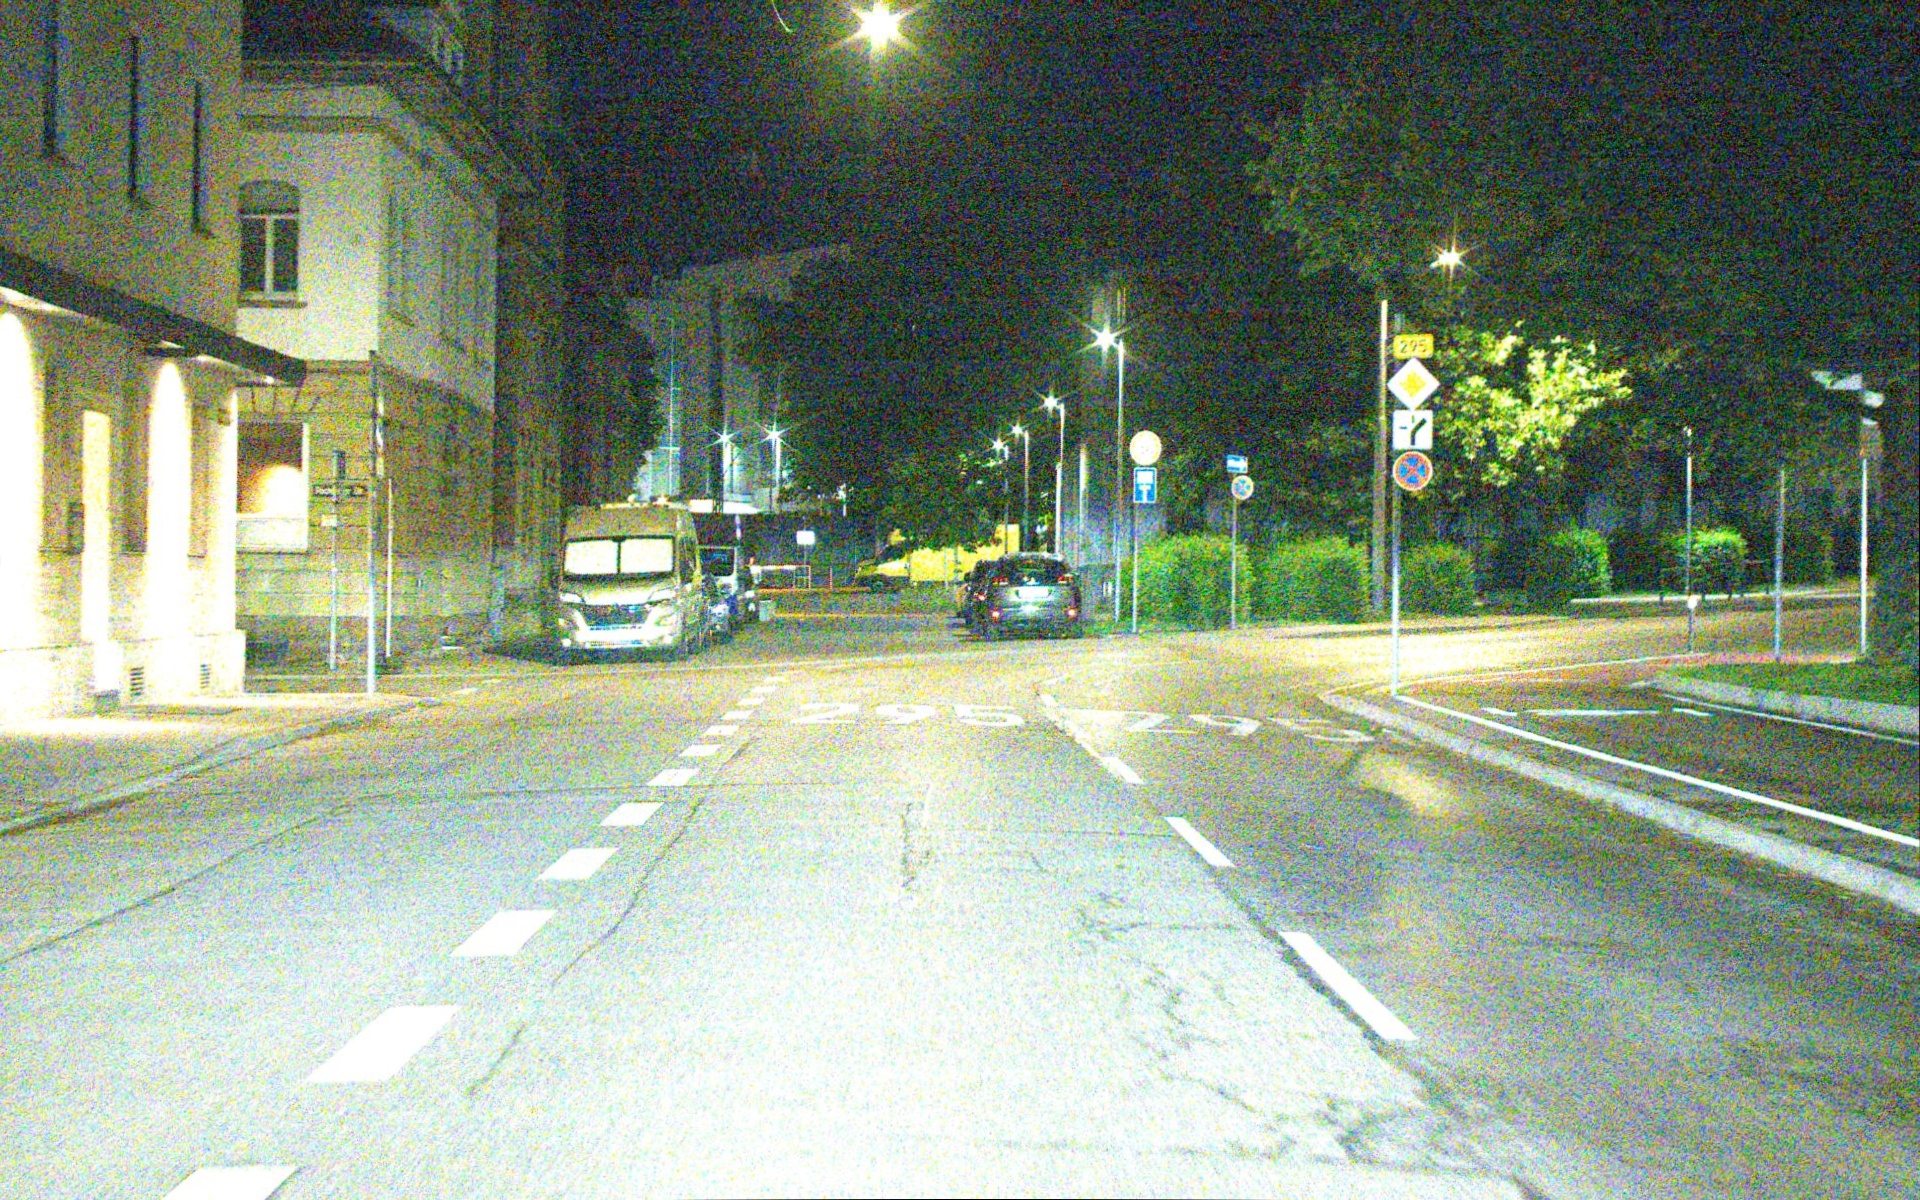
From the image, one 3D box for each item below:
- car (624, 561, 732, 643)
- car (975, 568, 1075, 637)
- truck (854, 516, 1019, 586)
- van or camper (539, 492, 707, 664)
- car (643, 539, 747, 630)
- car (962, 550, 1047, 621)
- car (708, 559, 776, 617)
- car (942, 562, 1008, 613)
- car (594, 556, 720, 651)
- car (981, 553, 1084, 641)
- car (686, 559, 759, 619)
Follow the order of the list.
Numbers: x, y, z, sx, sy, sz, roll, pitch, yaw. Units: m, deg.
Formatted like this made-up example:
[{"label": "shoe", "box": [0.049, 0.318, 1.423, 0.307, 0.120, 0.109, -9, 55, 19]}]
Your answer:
[{"label": "car", "box": [-5.495, 0.020, 66.534, 1.838, 1.502, 4.743, -1, 0, -8]}, {"label": "car", "box": [1.315, 0.043, 71.276, 1.963, 1.378, 4.000, 0, 0, 0]}, {"label": "truck", "box": [-0.995, -2.037, 143.543, 6.775, 2.835, 2.000, 1, 1, -3]}, {"label": "van or camper", "box": [-5.367, -0.355, 55.533, 2.158, 2.527, 6.227, -2, 0, -1]}, {"label": "car", "box": [-5.871, -0.357, 76.620, 1.993, 1.948, 4.806, 0, 0, -1]}, {"label": "car", "box": [1.133, -0.374, 88.956, 2.040, 1.688, 4.882, -2, 0, 0]}, {"label": "car", "box": [-5.985, -0.313, 94.780, 1.677, 1.561, 4.105, 0, 0, -1]}, {"label": "car", "box": [0.417, -0.376, 100.169, 1.758, 1.440, 4.026, -1, 1, -2]}, {"label": "car", "box": [-5.339, 0.043, 60.973, 1.892, 1.585, 4.374, -1, 0, -1]}, {"label": "car", "box": [1.389, -0.068, 66.049, 1.884, 1.597, 4.107, -1, 0, 1]}, {"label": "car", "box": [-6.128, -0.282, 88.938, 1.704, 1.505, 4.100, 1, 0, -2]}]
